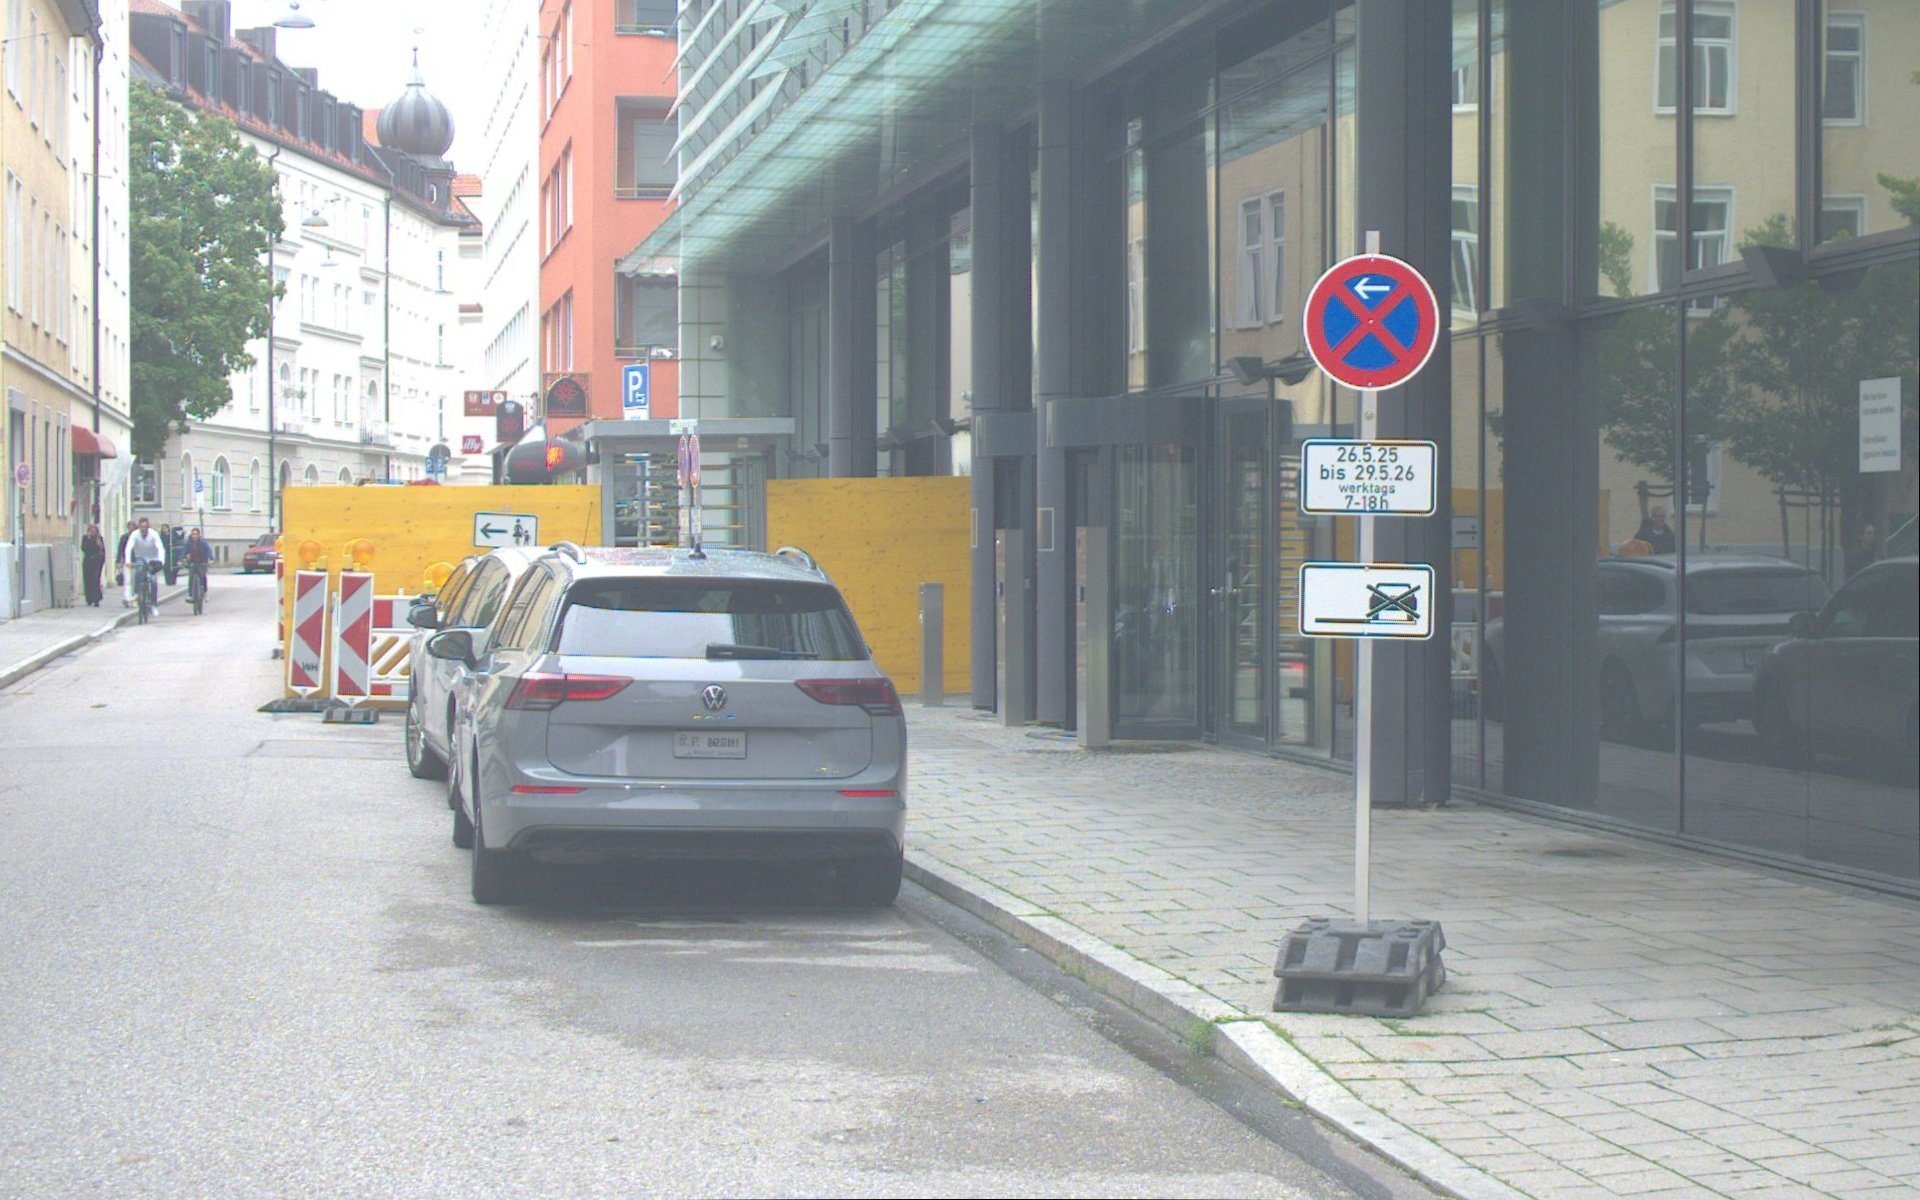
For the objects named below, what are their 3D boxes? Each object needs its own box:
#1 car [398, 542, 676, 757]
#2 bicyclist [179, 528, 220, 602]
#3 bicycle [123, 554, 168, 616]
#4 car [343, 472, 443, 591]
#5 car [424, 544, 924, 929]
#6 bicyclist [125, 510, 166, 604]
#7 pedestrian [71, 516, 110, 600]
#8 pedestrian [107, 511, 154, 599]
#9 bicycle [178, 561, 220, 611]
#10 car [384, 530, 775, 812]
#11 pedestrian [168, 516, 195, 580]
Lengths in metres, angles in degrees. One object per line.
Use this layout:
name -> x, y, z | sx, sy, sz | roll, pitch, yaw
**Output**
car -> -3.203, 0.309, 25.355 | 1.707, 1.409, 4.511 | 2, 0, -11
bicyclist -> -14.237, -0.658, 64.347 | 0.707, 1.366, 0.813 | 0, 1, -11
bicycle -> -14.167, -0.273, 59.811 | 0.661, 1.035, 2.005 | 0, 1, -11
car -> -12.666, -1.523, 76.609 | 1.993, 2.528, 4.976 | 1, 1, -11
car -> -1.396, 0.475, 15.056 | 1.707, 1.427, 4.331 | 0, 1, -11
bicyclist -> -14.197, -0.754, 59.936 | 0.659, 1.637, 0.895 | 0, 1, -11
pedestrian -> -17.076, -0.828, 67.536 | 0.670, 1.642, 0.762 | 1, 1, -11
pedestrian -> -16.226, -0.873, 67.229 | 0.839, 1.695, 0.803 | 1, 1, -11
bicycle -> -14.239, -0.274, 64.328 | 0.707, 0.902, 1.810 | 0, 1, -11
car -> -2.349, 0.353, 20.265 | 1.707, 1.462, 4.238 | 1, 0, -14
pedestrian -> -20.509, -1.377, 90.563 | 0.634, 1.669, 0.518 | 1, 1, -11
